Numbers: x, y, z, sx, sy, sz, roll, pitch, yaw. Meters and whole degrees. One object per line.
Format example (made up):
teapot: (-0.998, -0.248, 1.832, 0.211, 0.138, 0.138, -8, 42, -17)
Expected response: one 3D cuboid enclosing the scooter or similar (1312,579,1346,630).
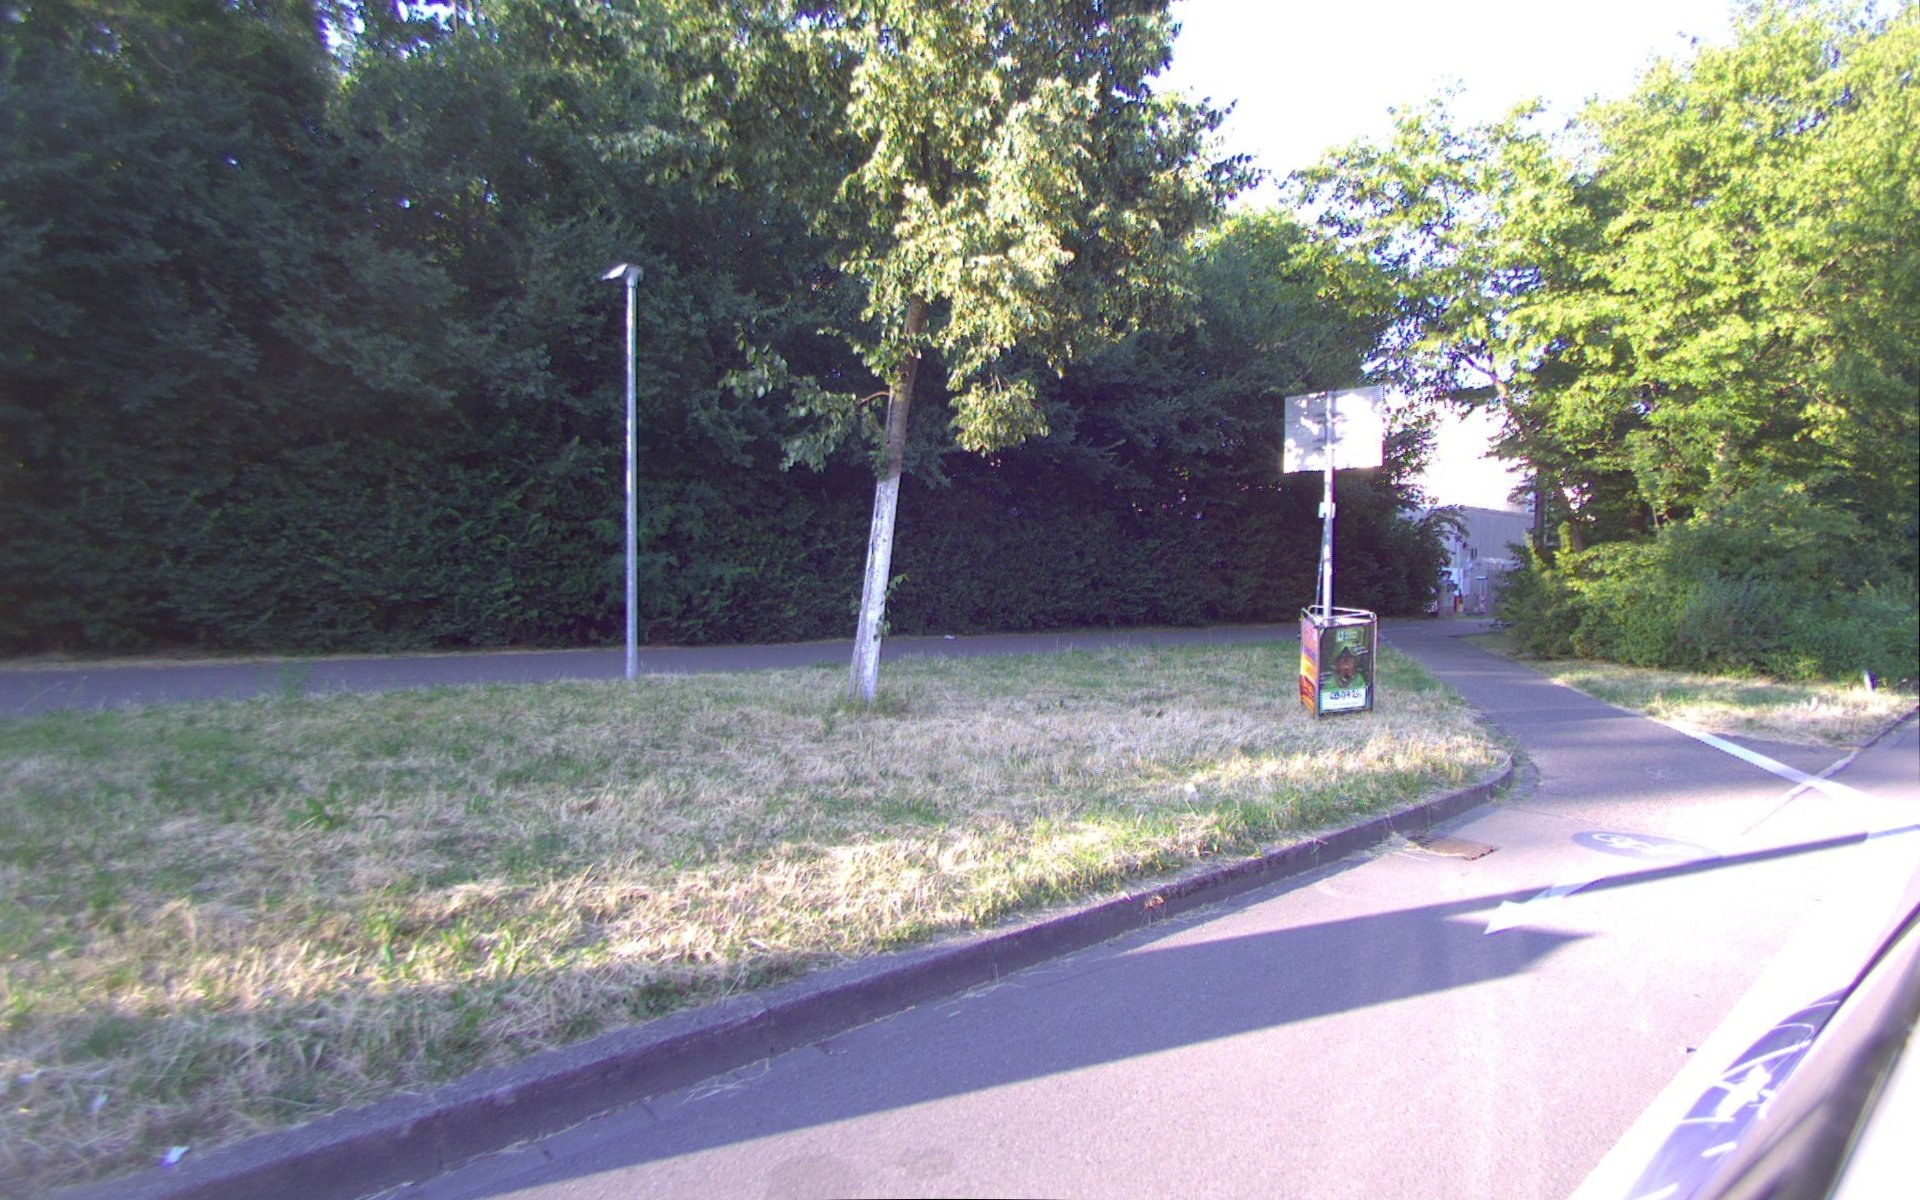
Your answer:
scooter or similar: (8.126, 0.102, 22.301, 0.819, 1.100, 0.194, 1, -1, -27)
